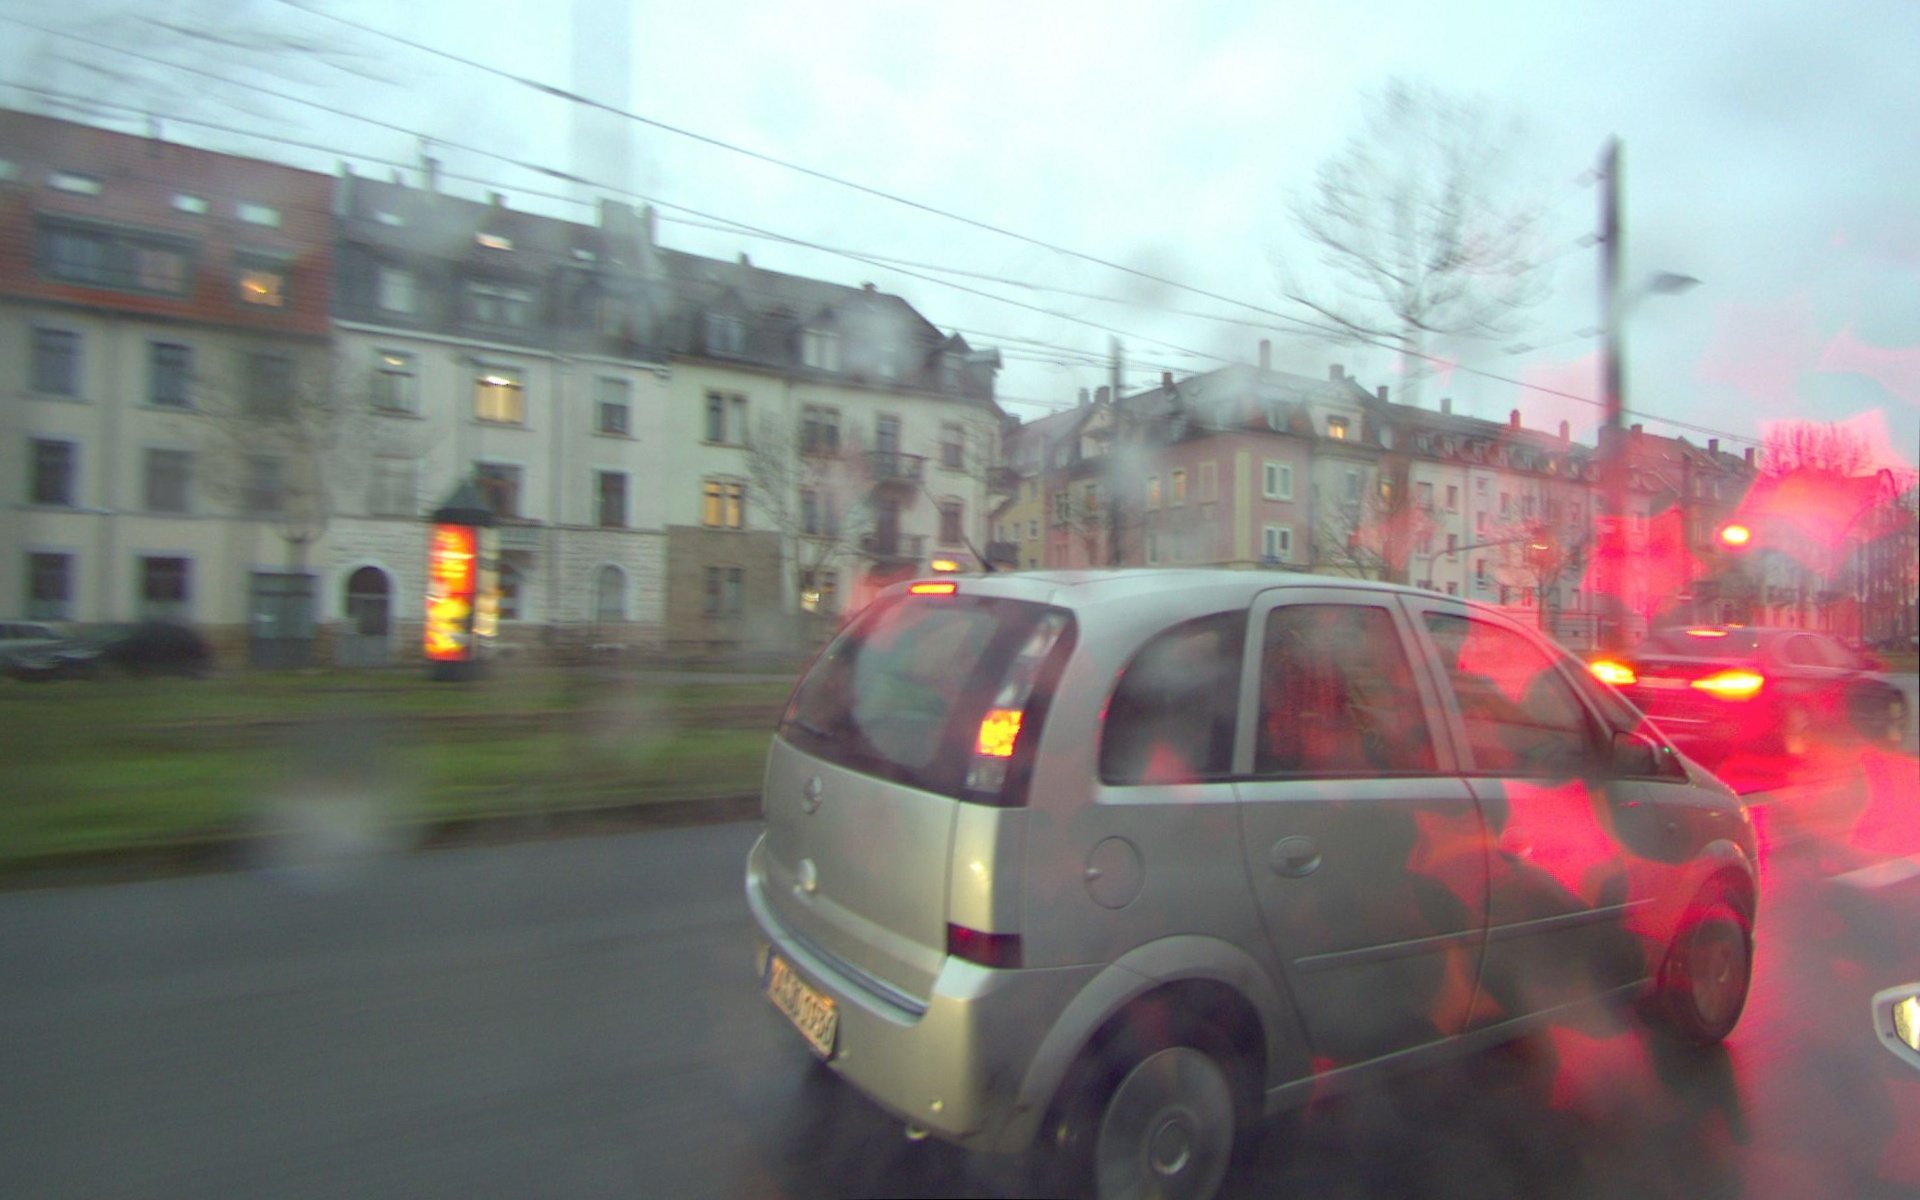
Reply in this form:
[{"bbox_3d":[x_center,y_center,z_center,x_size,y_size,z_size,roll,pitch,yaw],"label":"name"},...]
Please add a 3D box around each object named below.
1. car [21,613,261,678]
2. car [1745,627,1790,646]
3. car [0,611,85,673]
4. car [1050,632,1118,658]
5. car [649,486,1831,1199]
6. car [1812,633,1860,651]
[{"bbox_3d":[-18.623,1.017,23.126,1.959,1.349,4.003,0,-2,7],"label":"car"},{"bbox_3d":[66.413,2.990,82.609,3.516,1.520,1.767,1,-1,-31],"label":"car"},{"bbox_3d":[-21.888,0.898,21.830,1.959,1.349,4.003,0,-2,7],"label":"car"},{"bbox_3d":[7.593,2.749,61.775,1.980,1.439,3.960,2,-1,-35],"label":"car"},{"bbox_3d":[1.130,0.650,3.623,4.005,1.621,1.801,2,0,-30],"label":"car"},{"bbox_3d":[67.204,3.218,77.053,3.516,1.372,1.767,1,-2,-31],"label":"car"}]
